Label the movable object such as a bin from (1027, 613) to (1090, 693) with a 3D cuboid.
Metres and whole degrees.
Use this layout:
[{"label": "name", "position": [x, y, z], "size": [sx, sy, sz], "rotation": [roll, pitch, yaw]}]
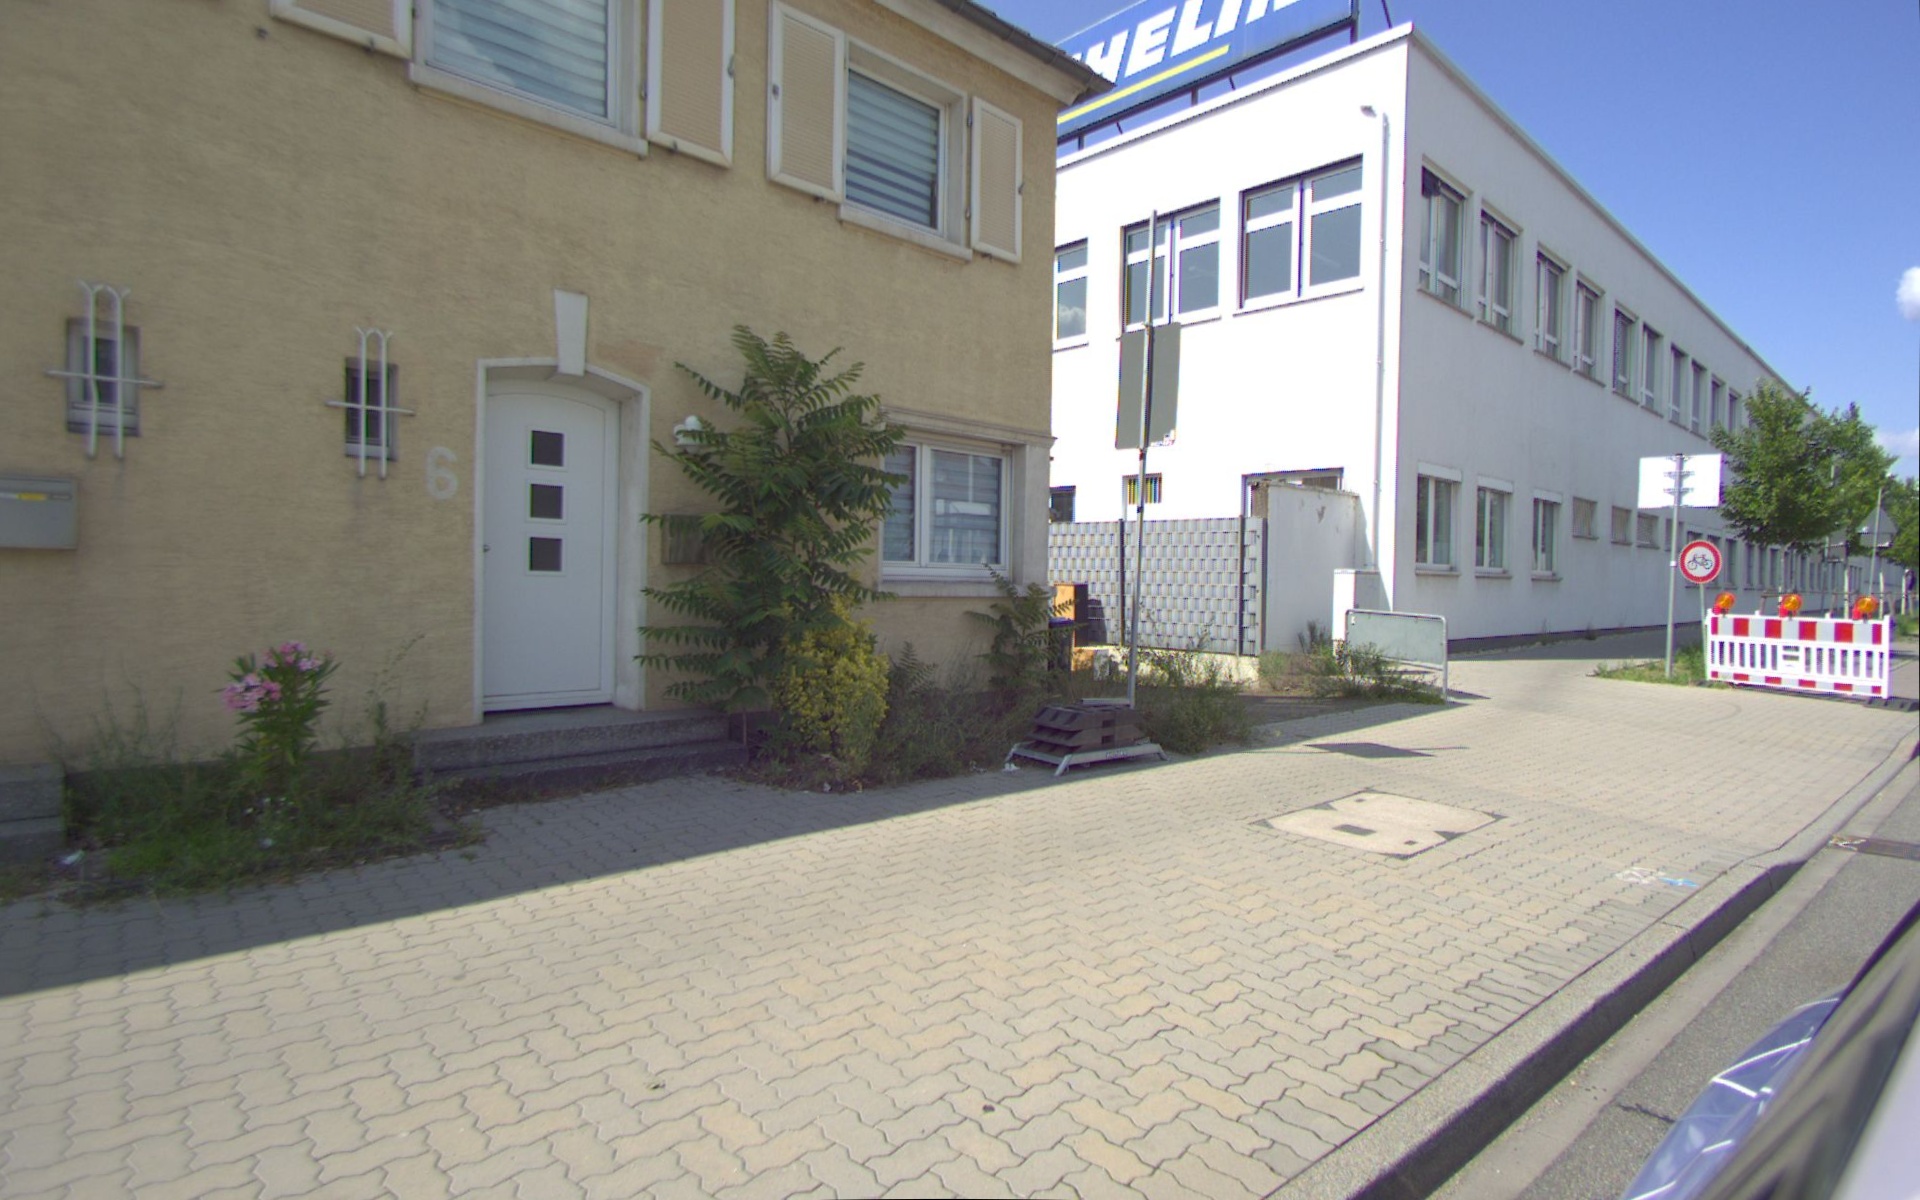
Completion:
[{"label": "movable object such as a bin", "position": [1.433, 0.752, 14.739], "size": [0.654, 1.101, 0.616], "rotation": [-1, 0, -32]}]
